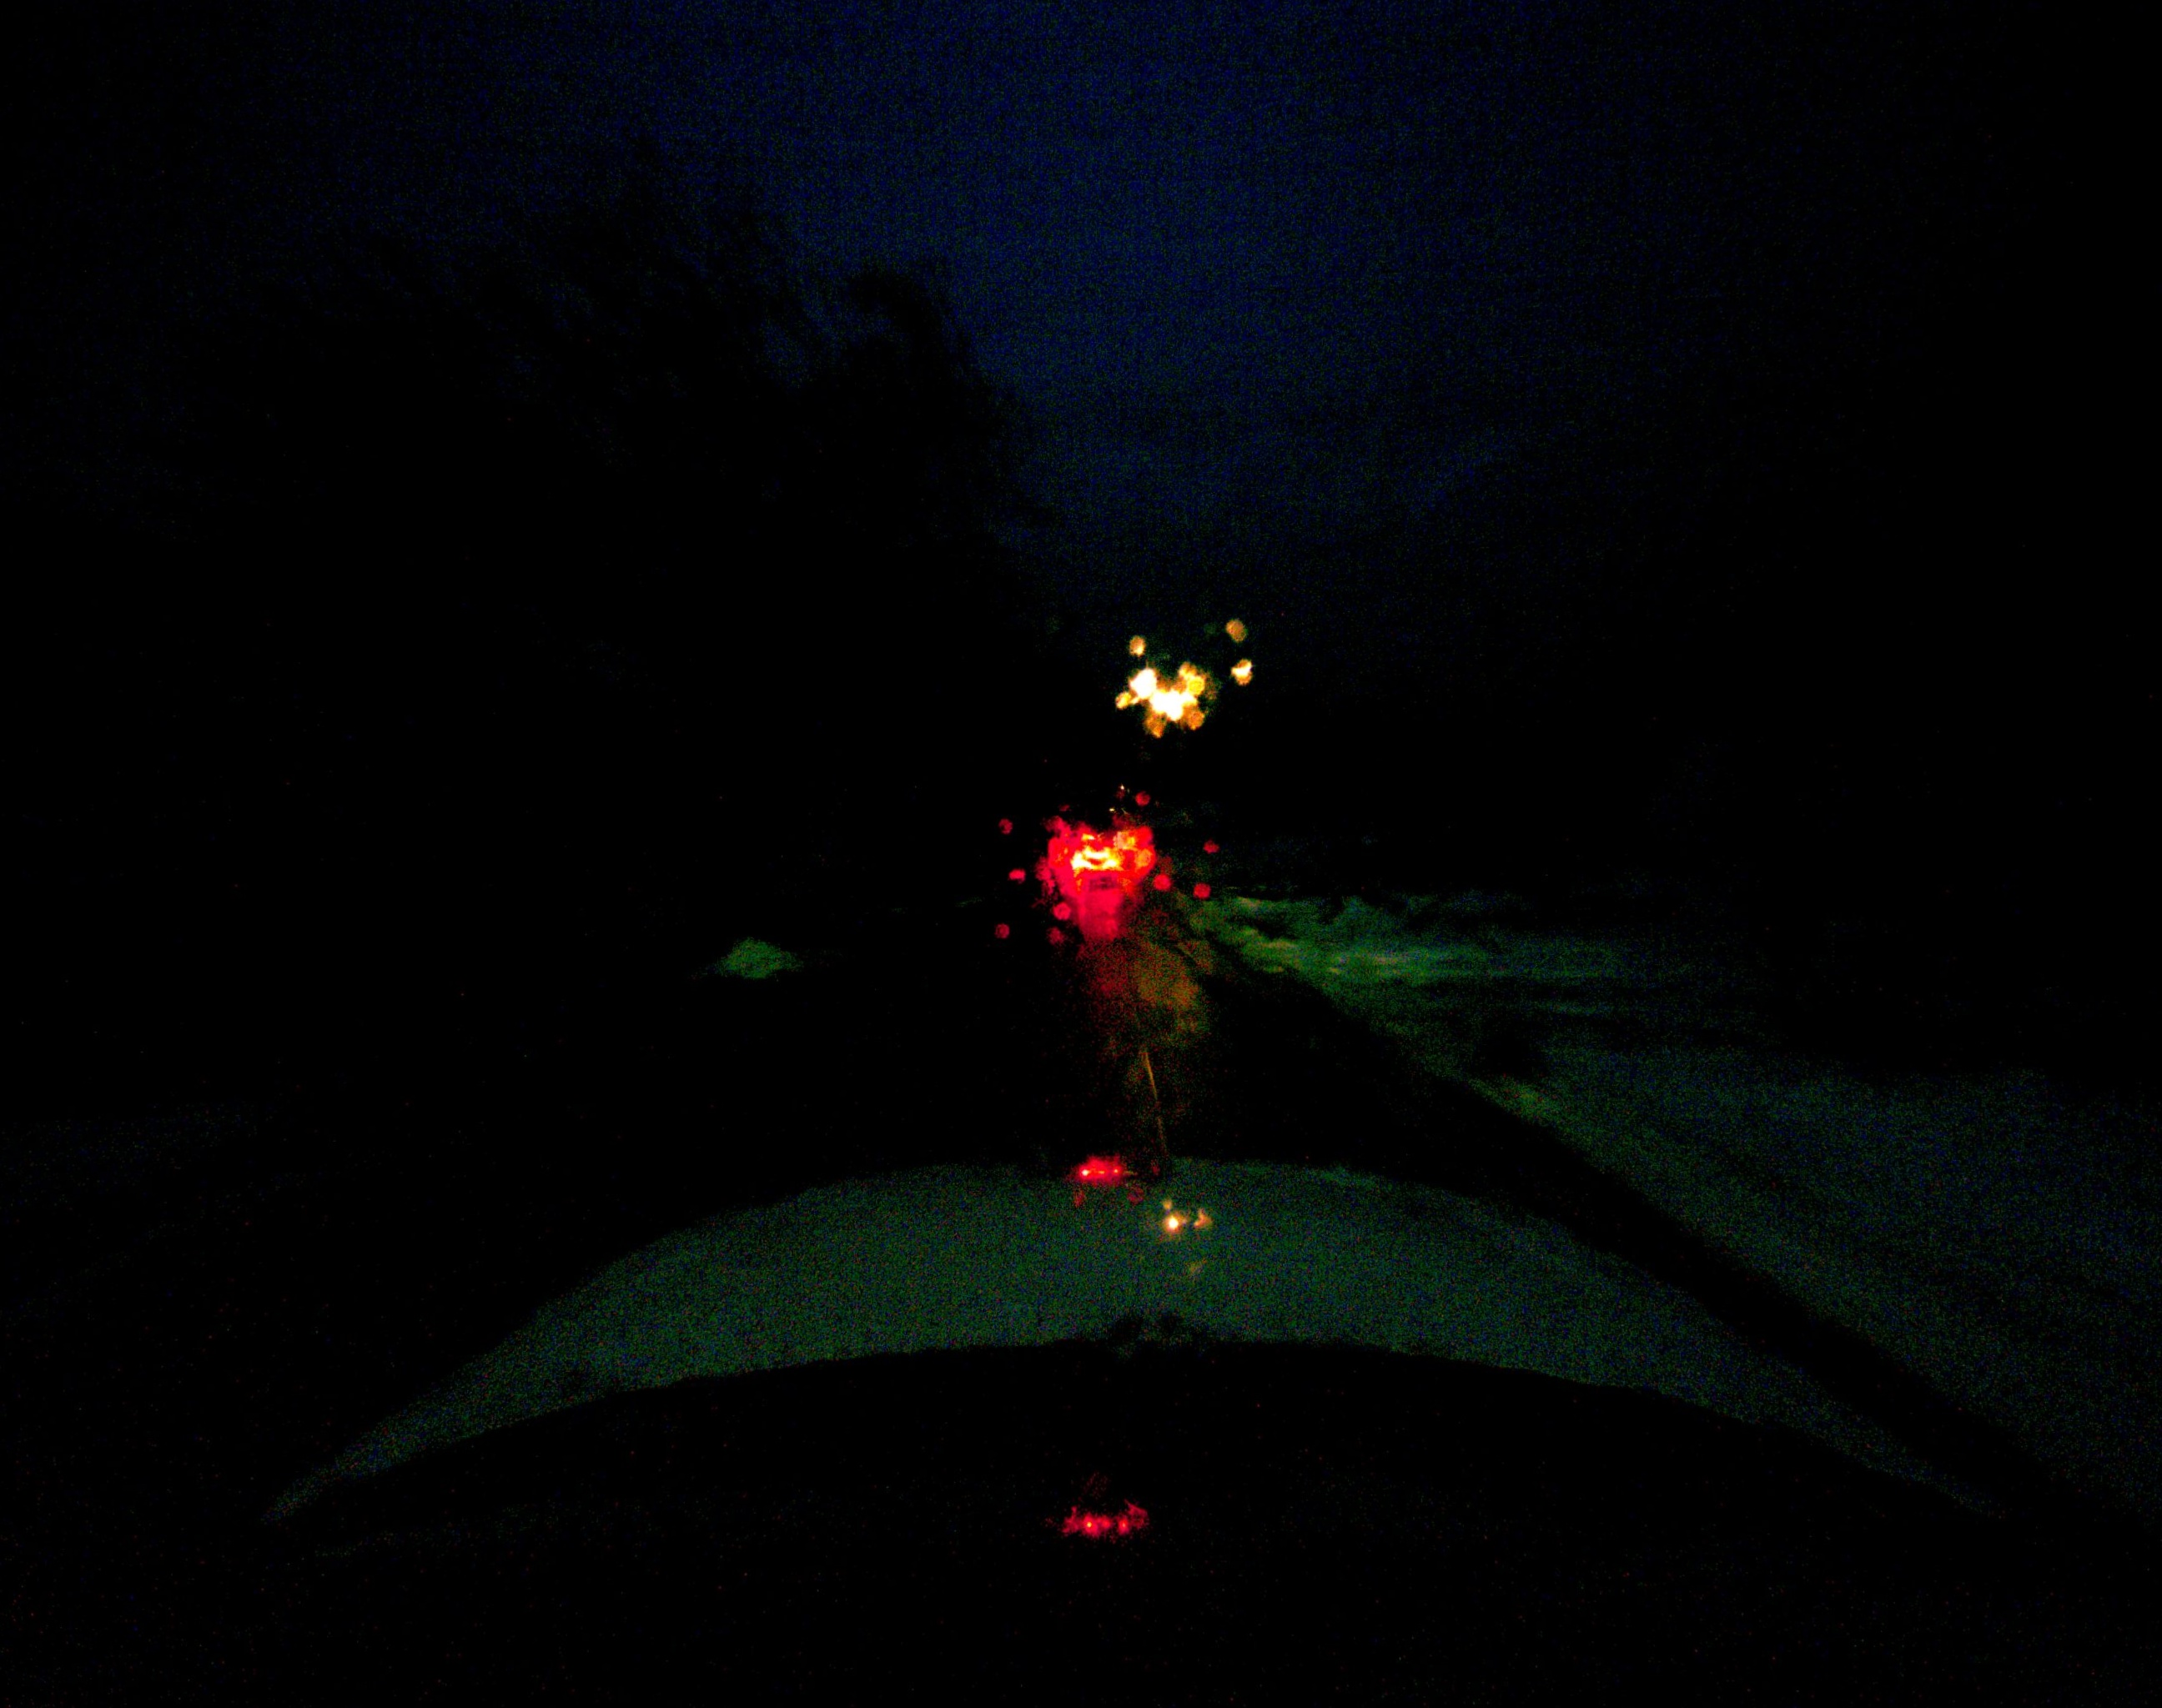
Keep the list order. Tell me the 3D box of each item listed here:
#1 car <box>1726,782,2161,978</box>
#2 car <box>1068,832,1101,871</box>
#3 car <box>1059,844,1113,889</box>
[{"bbox_3d":[9.537,0.190,8.223,4.370,1.657,1.867,-3,1,9],"label":"car"},{"bbox_3d":[0.377,-0.141,68.737,2.425,3.019,5.328,-3,-2,2],"label":"car"},{"bbox_3d":[0.273,0.546,37.616,2.266,1.840,5.007,-2,0,1],"label":"car"}]
